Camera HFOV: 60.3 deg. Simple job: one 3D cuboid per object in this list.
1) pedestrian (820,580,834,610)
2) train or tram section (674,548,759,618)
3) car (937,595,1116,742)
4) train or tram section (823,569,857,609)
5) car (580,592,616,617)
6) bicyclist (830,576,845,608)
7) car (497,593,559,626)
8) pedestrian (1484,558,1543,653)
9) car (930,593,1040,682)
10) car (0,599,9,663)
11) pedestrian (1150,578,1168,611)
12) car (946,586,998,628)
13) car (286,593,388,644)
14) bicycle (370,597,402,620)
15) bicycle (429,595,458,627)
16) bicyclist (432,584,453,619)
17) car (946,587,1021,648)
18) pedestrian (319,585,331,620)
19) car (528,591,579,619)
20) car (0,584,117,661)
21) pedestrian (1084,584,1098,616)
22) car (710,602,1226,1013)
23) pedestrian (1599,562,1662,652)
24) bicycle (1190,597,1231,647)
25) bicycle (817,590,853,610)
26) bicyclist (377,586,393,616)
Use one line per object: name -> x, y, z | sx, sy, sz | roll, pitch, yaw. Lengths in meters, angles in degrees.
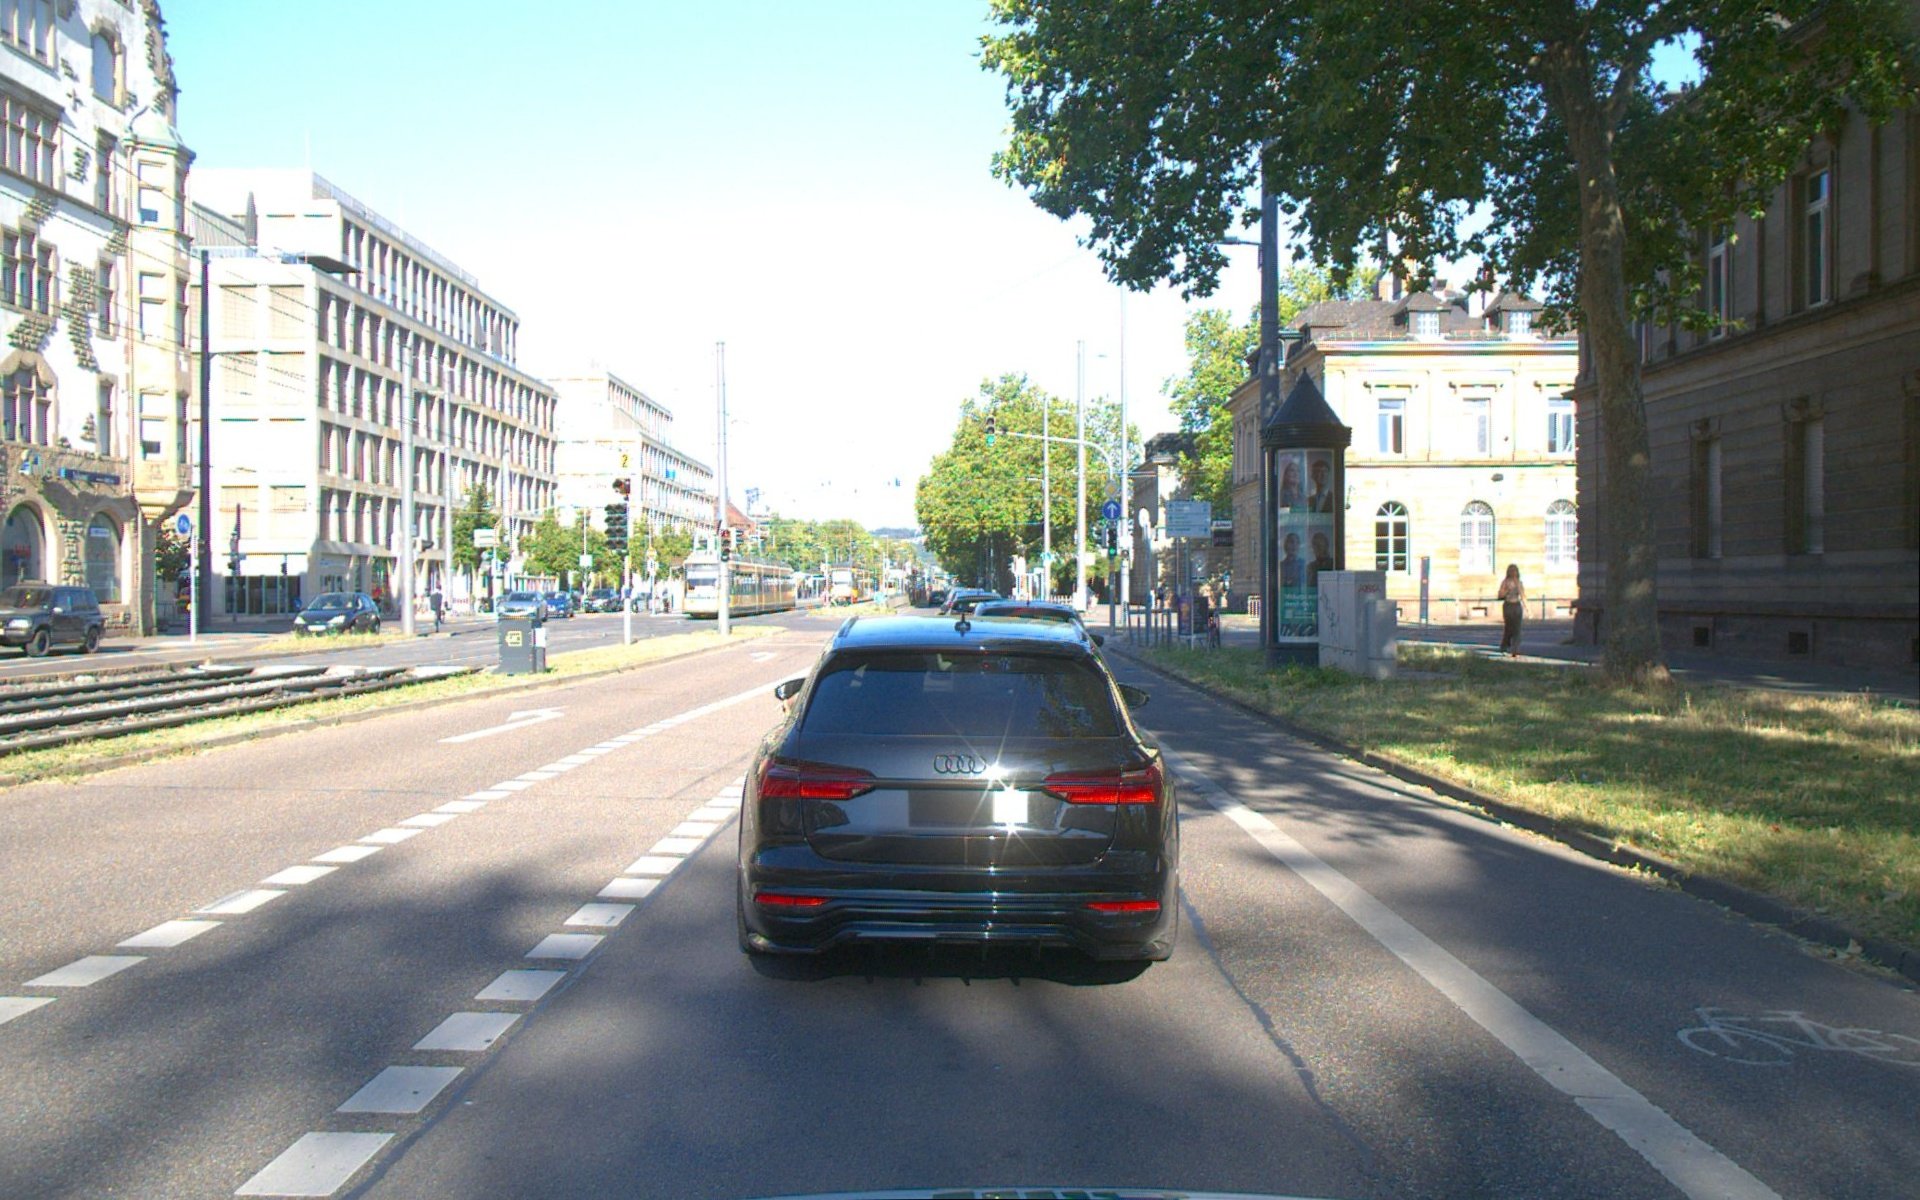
pedestrian -> -7.908, -0.294, 98.204 | 0.727, 1.772, 0.661 | -1, 0, -15
train or tram section -> -13.204, -0.913, 90.780 | 2.755, 3.550, 13.203 | -1, 0, 0
car -> 0.697, 0.709, 19.349 | 1.863, 1.512, 4.144 | 0, 0, 0
train or tram section -> -10.773, -1.019, 149.309 | 2.556, 3.511, 11.128 | -1, 1, -2
car -> -26.953, 0.312, 123.126 | 1.804, 1.844, 4.112 | -1, 0, -1
bicyclist -> -7.164, -0.481, 96.770 | 0.744, 1.850, 0.761 | -1, 0, -17
car -> -20.210, 0.412, 77.574 | 1.783, 1.482, 4.539 | -1, 0, -1
pedestrian -> 10.376, 0.100, 31.054 | 0.753, 1.739, 1.042 | -1, 0, 1
car -> 0.434, 0.631, 30.432 | 1.863, 1.512, 4.144 | 0, 0, 0
car -> -22.322, 0.696, 35.113 | 1.682, 1.448, 4.654 | 2, 1, -2
pedestrian -> 11.635, -0.342, 96.654 | 0.959, 1.898, 0.827 | -1, 0, 1
car -> 0.444, 0.242, 62.355 | 1.863, 1.512, 4.144 | 0, 0, 0
car -> -19.321, 0.542, 51.496 | 1.784, 1.482, 4.163 | -1, 0, -3
bicycle -> -32.933, 0.473, 94.942 | 0.563, 1.236, 2.391 | -1, 0, 11
bicycle -> -23.487, 0.480, 75.204 | 0.671, 1.406, 1.947 | -1, 0, 1
bicyclist -> -23.495, 0.068, 75.094 | 0.671, 1.590, 0.785 | -1, 0, 1
car -> 0.594, 0.427, 43.352 | 1.863, 1.512, 4.144 | 0, 0, 0
pedestrian -> -34.994, 0.139, 91.185 | 0.468, 1.876, 0.437 | -1, 0, -38
car -> -22.149, 0.244, 90.244 | 1.783, 1.482, 4.156 | -1, 0, -1
car -> -22.450, 0.503, 40.363 | 1.682, 1.704, 4.215 | 2, 0, -2
pedestrian -> 6.904, 0.013, 87.323 | 0.668, 1.689, 0.758 | -1, 0, -2
car -> 0.034, 0.757, 8.070 | 1.863, 1.446, 4.144 | 0, 0, 0
pedestrian -> 12.463, 0.132, 30.769 | 0.753, 1.634, 0.986 | -1, 0, 1
bicycle -> 5.689, 0.486, 37.653 | 0.529, 1.080, 1.770 | -1, 0, -4
bicycle -> -7.311, 0.020, 96.725 | 1.974, 1.127, 0.761 | -1, 0, -17
bicyclist -> -32.957, 0.075, 94.829 | 0.563, 1.715, 0.644 | -1, 0, 11
